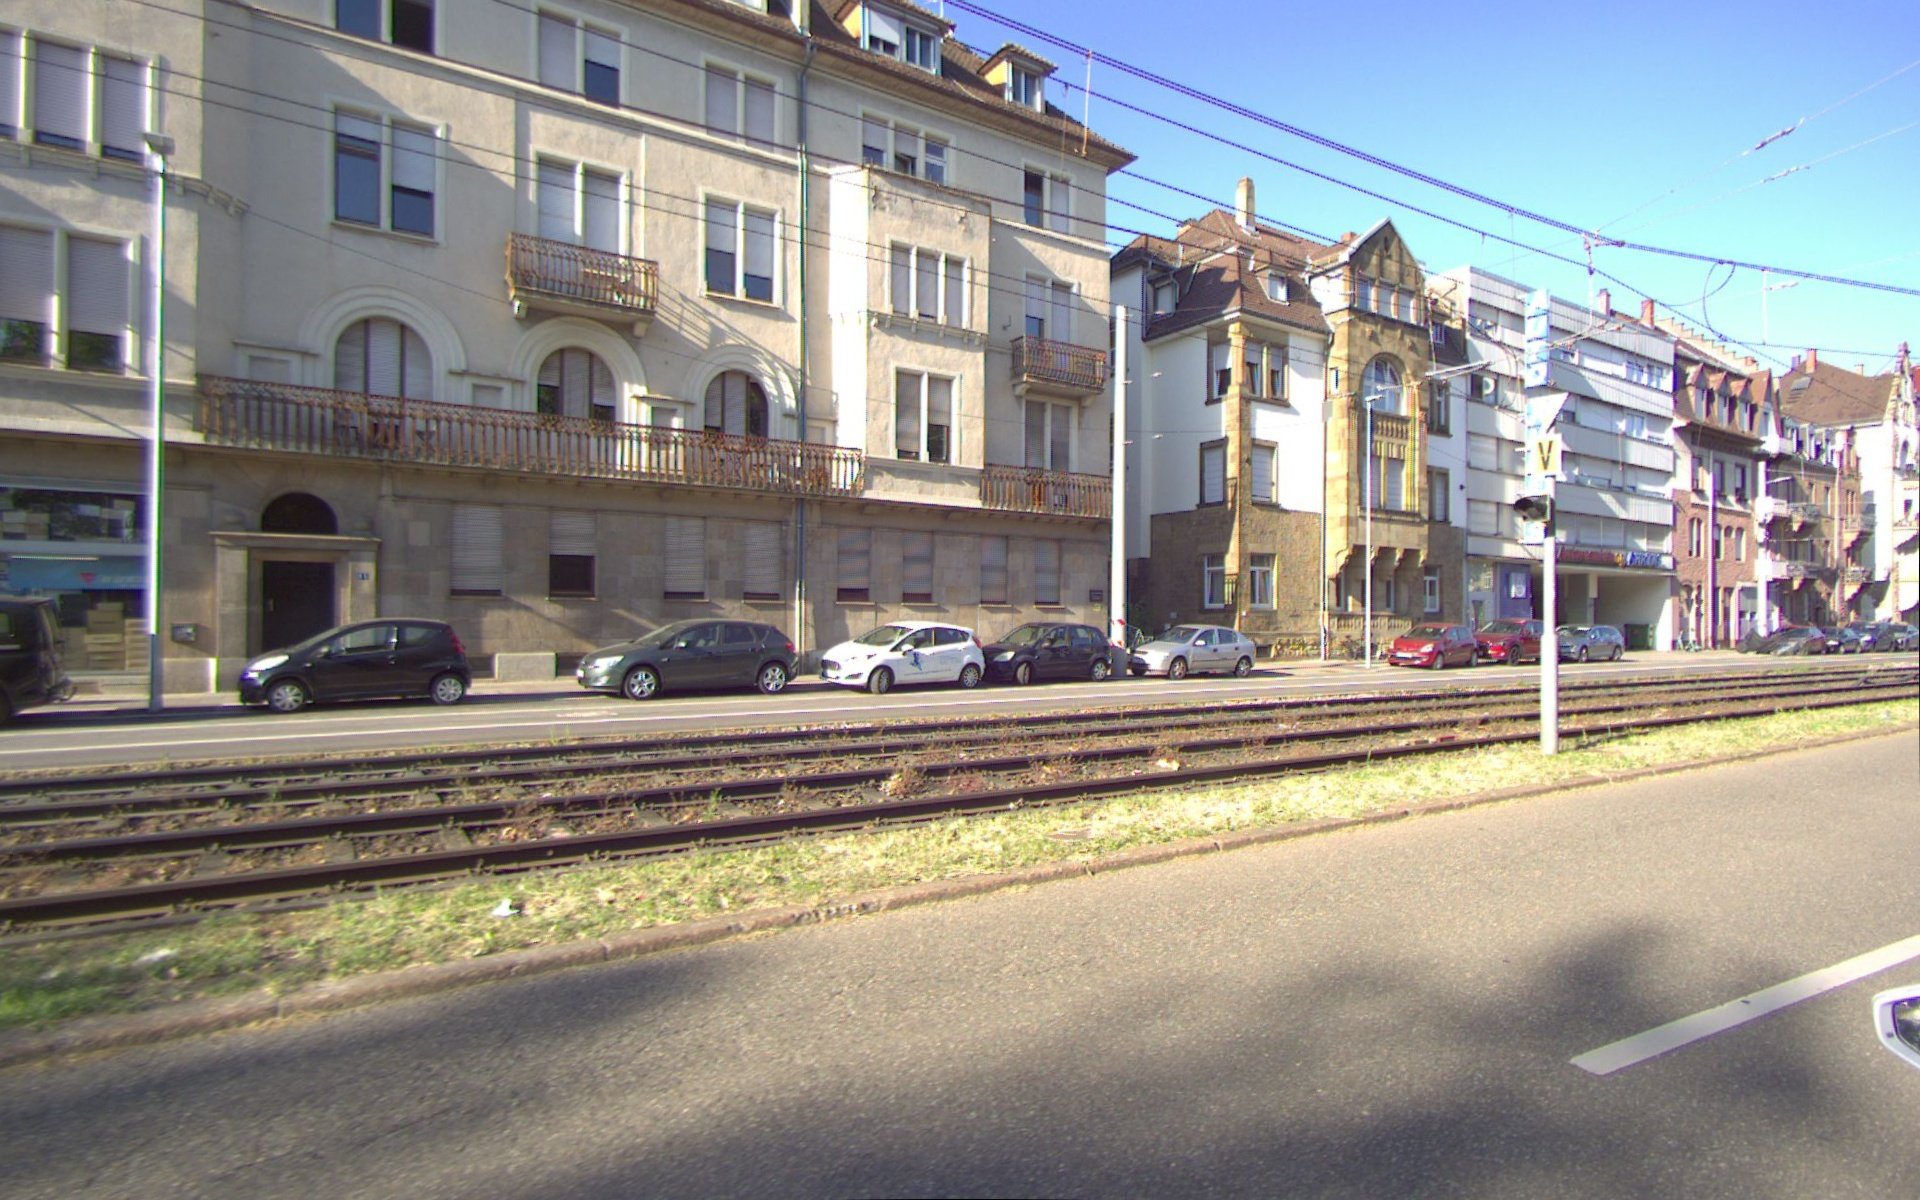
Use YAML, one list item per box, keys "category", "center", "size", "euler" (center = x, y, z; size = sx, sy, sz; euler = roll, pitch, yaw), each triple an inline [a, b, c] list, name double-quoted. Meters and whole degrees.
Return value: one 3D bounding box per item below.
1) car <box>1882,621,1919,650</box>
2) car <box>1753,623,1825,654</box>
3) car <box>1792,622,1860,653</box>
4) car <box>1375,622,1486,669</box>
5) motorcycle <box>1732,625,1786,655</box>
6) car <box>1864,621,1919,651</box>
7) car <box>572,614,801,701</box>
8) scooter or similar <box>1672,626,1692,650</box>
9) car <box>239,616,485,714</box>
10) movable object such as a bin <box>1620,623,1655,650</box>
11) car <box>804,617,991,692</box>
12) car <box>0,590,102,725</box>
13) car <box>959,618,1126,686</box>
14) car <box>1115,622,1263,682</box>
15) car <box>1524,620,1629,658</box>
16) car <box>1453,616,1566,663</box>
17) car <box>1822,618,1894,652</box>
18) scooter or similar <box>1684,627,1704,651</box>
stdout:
- category: "car"
  center: [60.492, 2.259, 63.920]
  size: [4.154, 1.674, 1.676]
  euler: [1, 2, -33]
- category: "car"
  center: [43.428, 1.987, 52.601]
  size: [4.222, 1.479, 1.783]
  euler: [1, 2, -34]
- category: "car"
  center: [47.563, 2.067, 55.162]
  size: [3.957, 1.530, 1.783]
  euler: [1, 2, -33]
- category: "car"
  center: [16.164, 1.533, 34.456]
  size: [4.000, 1.410, 1.819]
  euler: [1, 2, -38]
- category: "motorcycle"
  center: [40.497, 2.002, 50.953]
  size: [2.044, 1.345, 0.836]
  euler: [4, 2, 42]
- category: "car"
  center: [56.842, 2.191, 61.118]
  size: [4.154, 1.674, 1.676]
  euler: [1, 2, -33]
- category: "car"
  center: [-5.431, 1.097, 20.113]
  size: [4.115, 1.488, 1.625]
  euler: [1, 2, -34]
- category: "scooter or similar"
  center: [38.197, 2.011, 53.130]
  size: [1.187, 1.222, 0.389]
  euler: [1, 2, -33]
- category: "car"
  center: [-10.174, 1.040, 17.214]
  size: [3.473, 1.410, 1.617]
  euler: [1, 2, -35]
- category: "movable object such as a bin"
  center: [36.079, 1.945, 53.502]
  size: [0.630, 1.389, 1.400]
  euler: [1, 0, -39]
- category: "car"
  center: [-1.329, 1.172, 22.307]
  size: [3.952, 1.488, 1.621]
  euler: [2, -1, -41]
- category: "car"
  center: [-14.687, 0.765, 13.687]
  size: [4.356, 1.810, 1.851]
  euler: [0, 1, -34]
- category: "car"
  center: [2.109, 1.229, 24.988]
  size: [4.122, 1.488, 1.622]
  euler: [1, 2, -38]
- category: "car"
  center: [6.394, 1.382, 27.917]
  size: [4.114, 1.488, 1.626]
  euler: [1, 1, -33]
- category: "car"
  center: [24.691, 1.542, 40.190]
  size: [4.633, 1.409, 1.822]
  euler: [1, -1, -34]
- category: "car"
  center: [20.435, 1.454, 37.294]
  size: [4.305, 1.579, 1.823]
  euler: [2, 0, -32]
- category: "car"
  center: [51.717, 2.009, 57.836]
  size: [4.403, 1.777, 1.785]
  euler: [1, 2, -30]
- category: "scooter or similar"
  center: [38.434, 2.028, 52.615]
  size: [1.187, 1.222, 0.389]
  euler: [1, 2, -33]
